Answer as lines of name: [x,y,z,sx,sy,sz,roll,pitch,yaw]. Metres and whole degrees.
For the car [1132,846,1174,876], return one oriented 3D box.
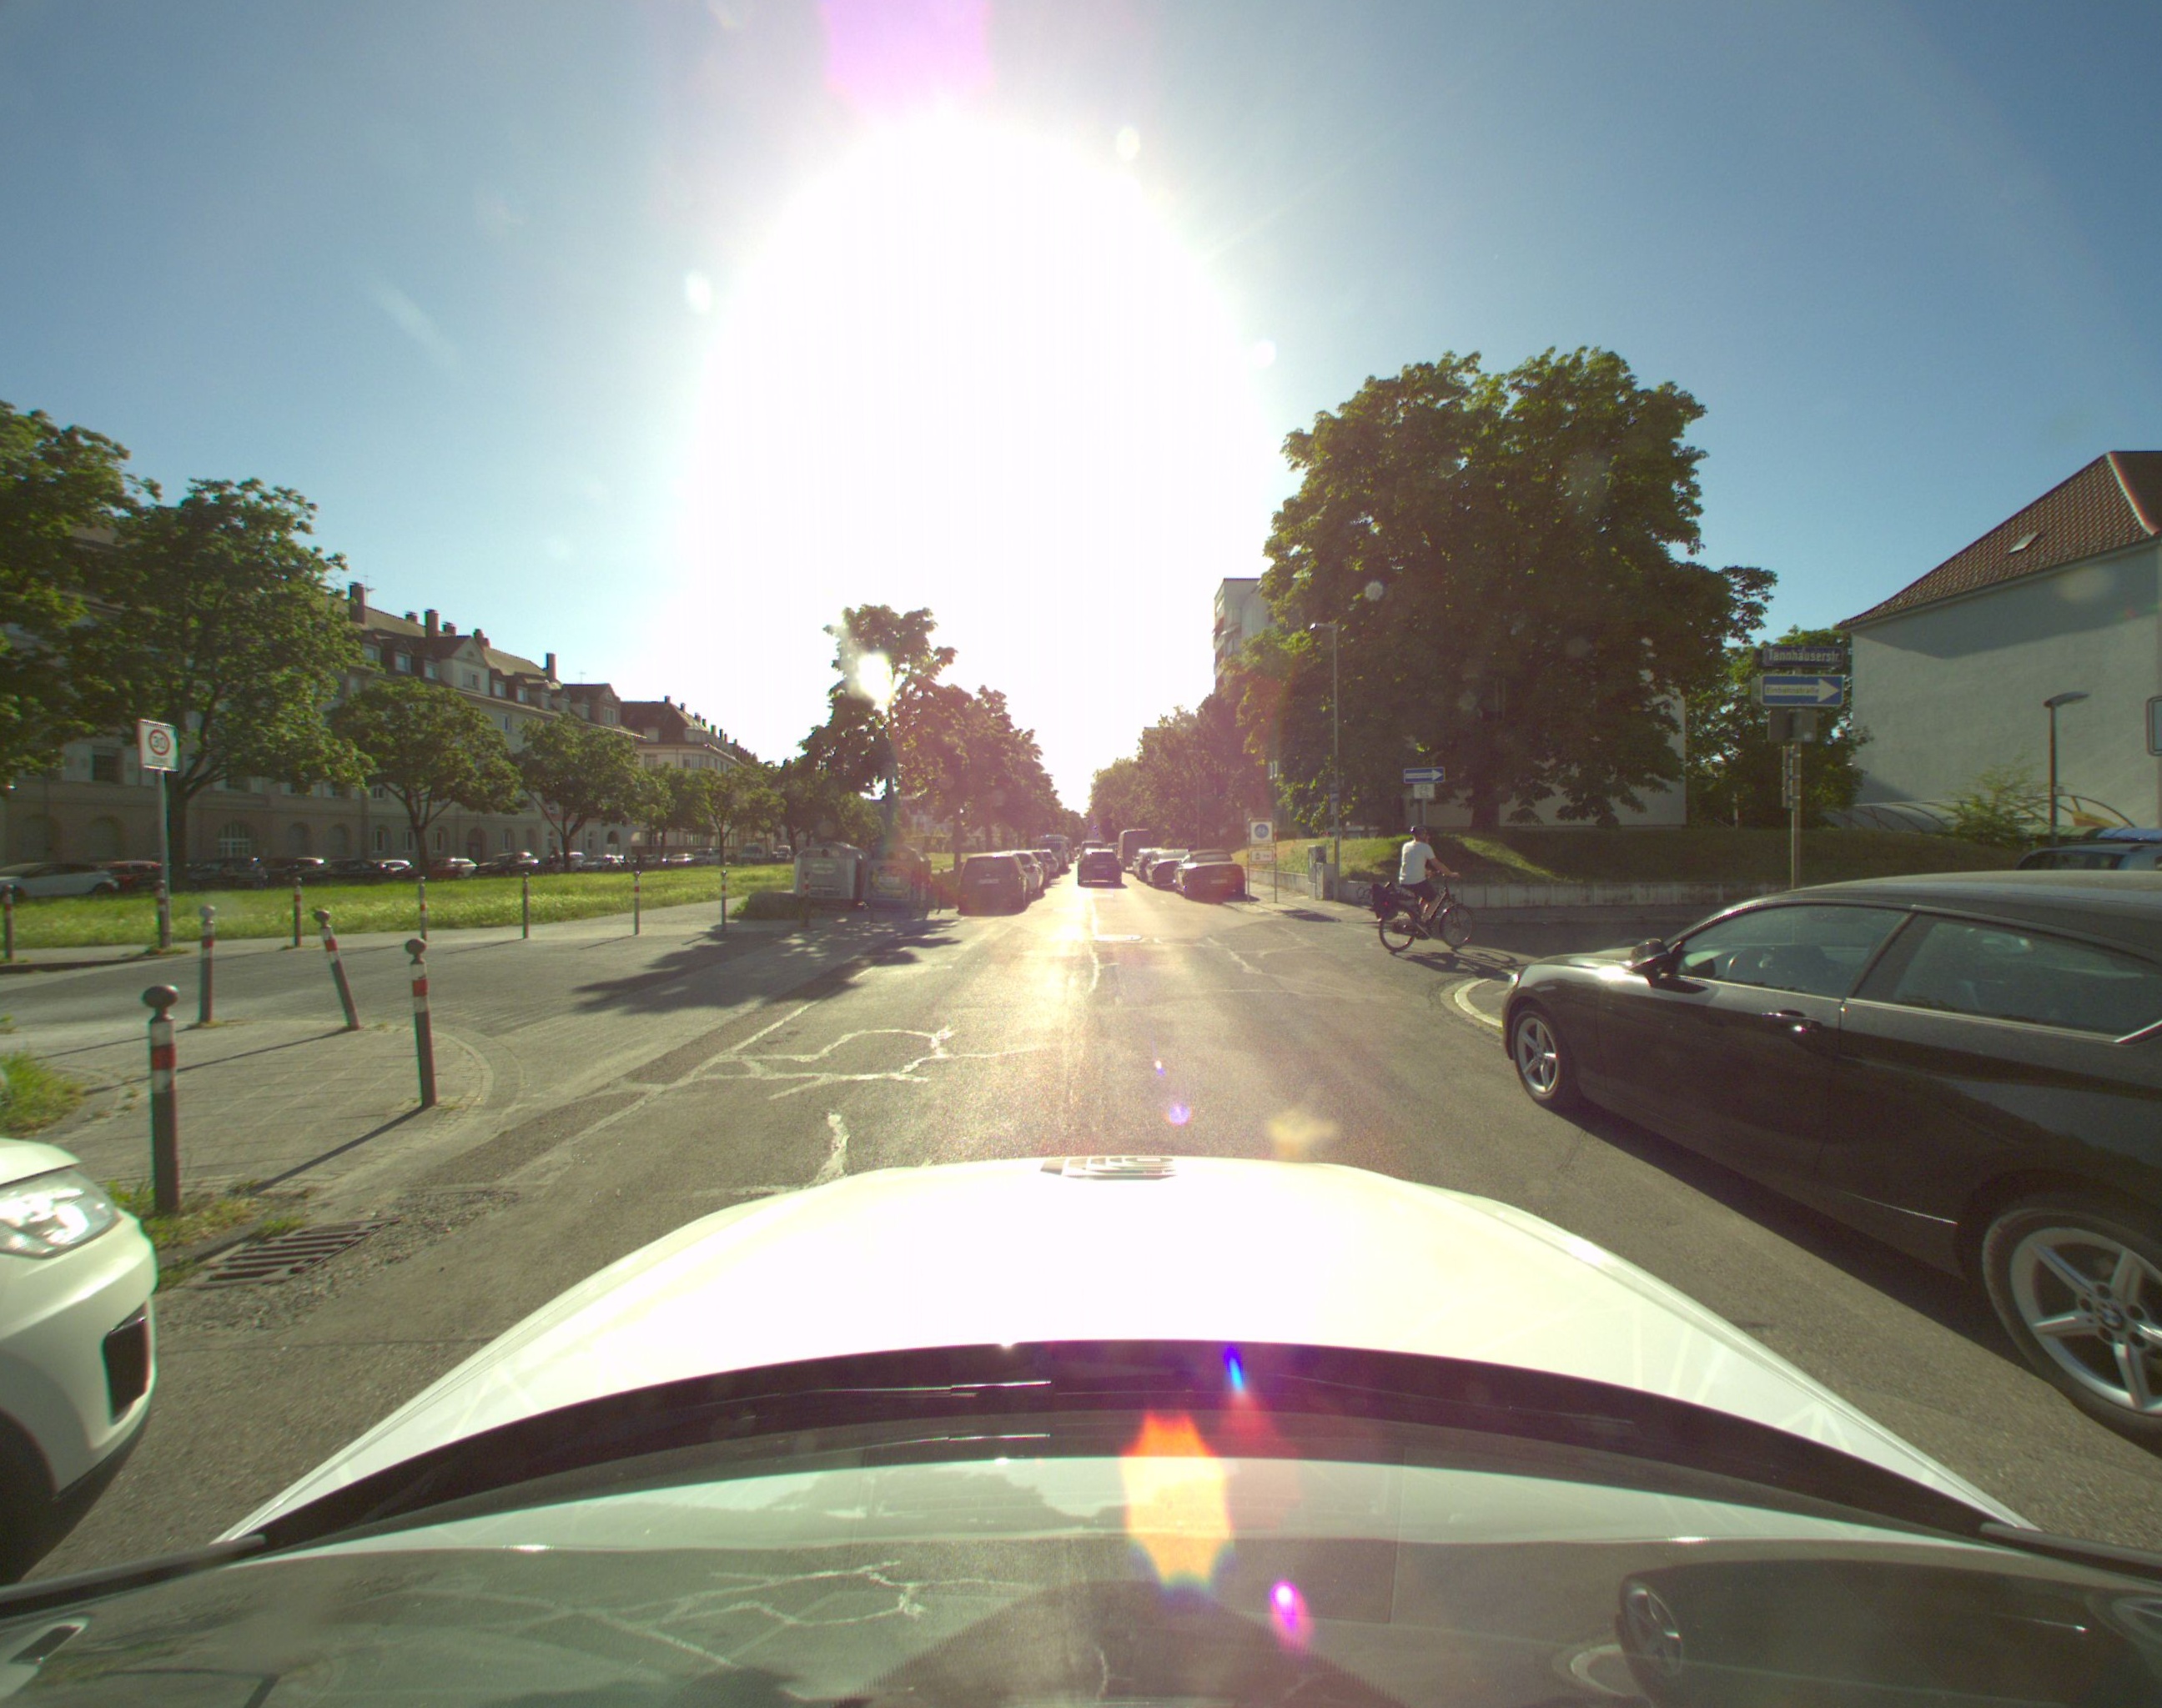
car: [3.778,0.341,43.169,1.981,1.487,4.128,-1,1,2]

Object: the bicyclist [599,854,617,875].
bicyclist: [-33.395,0.737,57.524,0.735,1.437,0.943,1,2,0]

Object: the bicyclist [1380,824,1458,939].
bicyclist: [4.896,0.377,11.811,0.791,1.596,0.692,-1,0,-18]

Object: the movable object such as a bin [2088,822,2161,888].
movable object such as a bin: [27.455,0.005,20.960,1.255,1.622,1.504,-1,1,0]

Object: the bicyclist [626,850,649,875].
bicyclist: [-33.827,0.643,62.119,0.938,1.837,1.449,-1,0,-1]

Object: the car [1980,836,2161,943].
car: [16.021,0.456,12.022,3.878,1.429,1.657,-1,1,-3]

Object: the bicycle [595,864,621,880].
bicycle: [-33.430,1.254,57.583,0.730,1.079,1.955,-1,1,-1]

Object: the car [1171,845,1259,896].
car: [4.125,0.453,25.779,2.117,1.337,4.508,-3,1,2]

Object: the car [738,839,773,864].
car: [-37.117,-0.293,93.008,1.910,2.743,5.621,-1,1,-2]

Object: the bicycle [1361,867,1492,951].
bicycle: [5.030,0.770,11.854,1.765,1.127,0.659,-1,0,-19]

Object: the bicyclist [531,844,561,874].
bicyclist: [-33.882,0.313,51.571,0.939,1.837,1.448,-1,0,-2]

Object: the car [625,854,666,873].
car: [-42.690,0.884,79.966,1.854,1.749,3.999,-1,1,0]

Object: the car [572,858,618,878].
car: [-37.086,1.040,62.225,1.375,1.440,3.343,-1,1,2]

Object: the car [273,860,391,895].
car: [-37.233,1.111,40.651,1.752,1.549,4.525,-1,1,-2]

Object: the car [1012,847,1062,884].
car: [-1.807,0.432,34.507,1.773,1.461,4.128,-1,1,2]

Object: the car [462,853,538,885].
car: [-37.155,0.928,52.250,1.732,1.908,4.458,-1,1,-2]

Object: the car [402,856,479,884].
car: [-42.879,1.019,54.623,1.935,1.751,4.025,-1,1,0]

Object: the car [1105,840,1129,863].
car: [3.606,-0.288,82.881,2.156,2.292,5.265,-1,1,0]

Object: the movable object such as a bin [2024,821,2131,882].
movable object such as a bin: [27.423,-0.072,22.445,1.183,1.613,1.464,-1,1,0]

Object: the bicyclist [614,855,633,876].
bicyclist: [-32.286,0.794,57.475,0.735,1.437,0.942,-1,0,0]

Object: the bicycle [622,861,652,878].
bicycle: [-33.850,1.168,62.116,0.808,1.252,2.633,-1,1,-1]

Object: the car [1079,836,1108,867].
car: [0.891,-0.178,56.432,1.887,1.991,4.012,-2,1,2]

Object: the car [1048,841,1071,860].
car: [-2.030,-0.378,78.978,2.002,1.785,4.128,-1,1,2]

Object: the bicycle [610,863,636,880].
bicycle: [-32.323,1.230,57.494,0.730,1.079,1.955,-1,1,-1]

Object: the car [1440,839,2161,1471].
car: [3.587,0.714,3.619,1.952,1.481,4.498,-2,1,0]

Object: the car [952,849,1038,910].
car: [-2.222,0.622,22.058,1.741,1.424,3.918,-3,0,2]

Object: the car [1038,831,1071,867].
car: [-1.877,-0.377,59.181,2.090,2.496,4.128,-1,1,2]

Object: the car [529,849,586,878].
car: [-42.700,0.768,66.550,1.771,2.259,4.462,-1,1,-1]

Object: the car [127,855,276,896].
car: [-37.031,0.869,34.473,1.627,1.549,4.352,-1,1,-2]

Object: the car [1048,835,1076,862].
car: [-1.902,-0.571,84.639,2.607,2.645,6.117,-1,1,2]

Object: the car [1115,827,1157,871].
car: [3.539,-0.337,53.279,2.157,2.689,5.411,-1,1,-2]

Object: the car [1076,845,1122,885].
car: [0.768,0.409,33.618,1.773,1.531,4.002,1,1,2]

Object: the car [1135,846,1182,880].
car: [3.552,0.382,38.110,1.774,1.487,4.030,-1,1,-1]

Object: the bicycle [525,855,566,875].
bicycle: [-33.871,0.687,51.565,0.807,1.252,2.634,0,0,0]

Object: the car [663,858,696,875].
car: [-36.813,1.130,74.796,1.513,1.440,3.229,-1,1,-2]

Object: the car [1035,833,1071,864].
car: [-1.793,-0.365,52.769,2.091,1.942,4.127,-1,1,1]

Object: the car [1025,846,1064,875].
car: [-1.940,0.325,44.306,1.826,1.500,4.128,-1,1,2]

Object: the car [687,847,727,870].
car: [-36.948,0.395,80.558,1.689,2.213,5.005,-1,0,-2]

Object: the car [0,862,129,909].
car: [-37.254,1.086,29.127,1.689,1.526,4.078,-1,1,-2]

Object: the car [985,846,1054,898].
car: [-1.937,0.540,26.577,1.770,1.495,3.876,-3,0,2]

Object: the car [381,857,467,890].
car: [-37.159,1.057,46.204,1.627,1.686,4.078,-1,1,-2]

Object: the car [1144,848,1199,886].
car: [3.462,0.452,31.736,1.773,1.371,4.128,-1,1,2]
